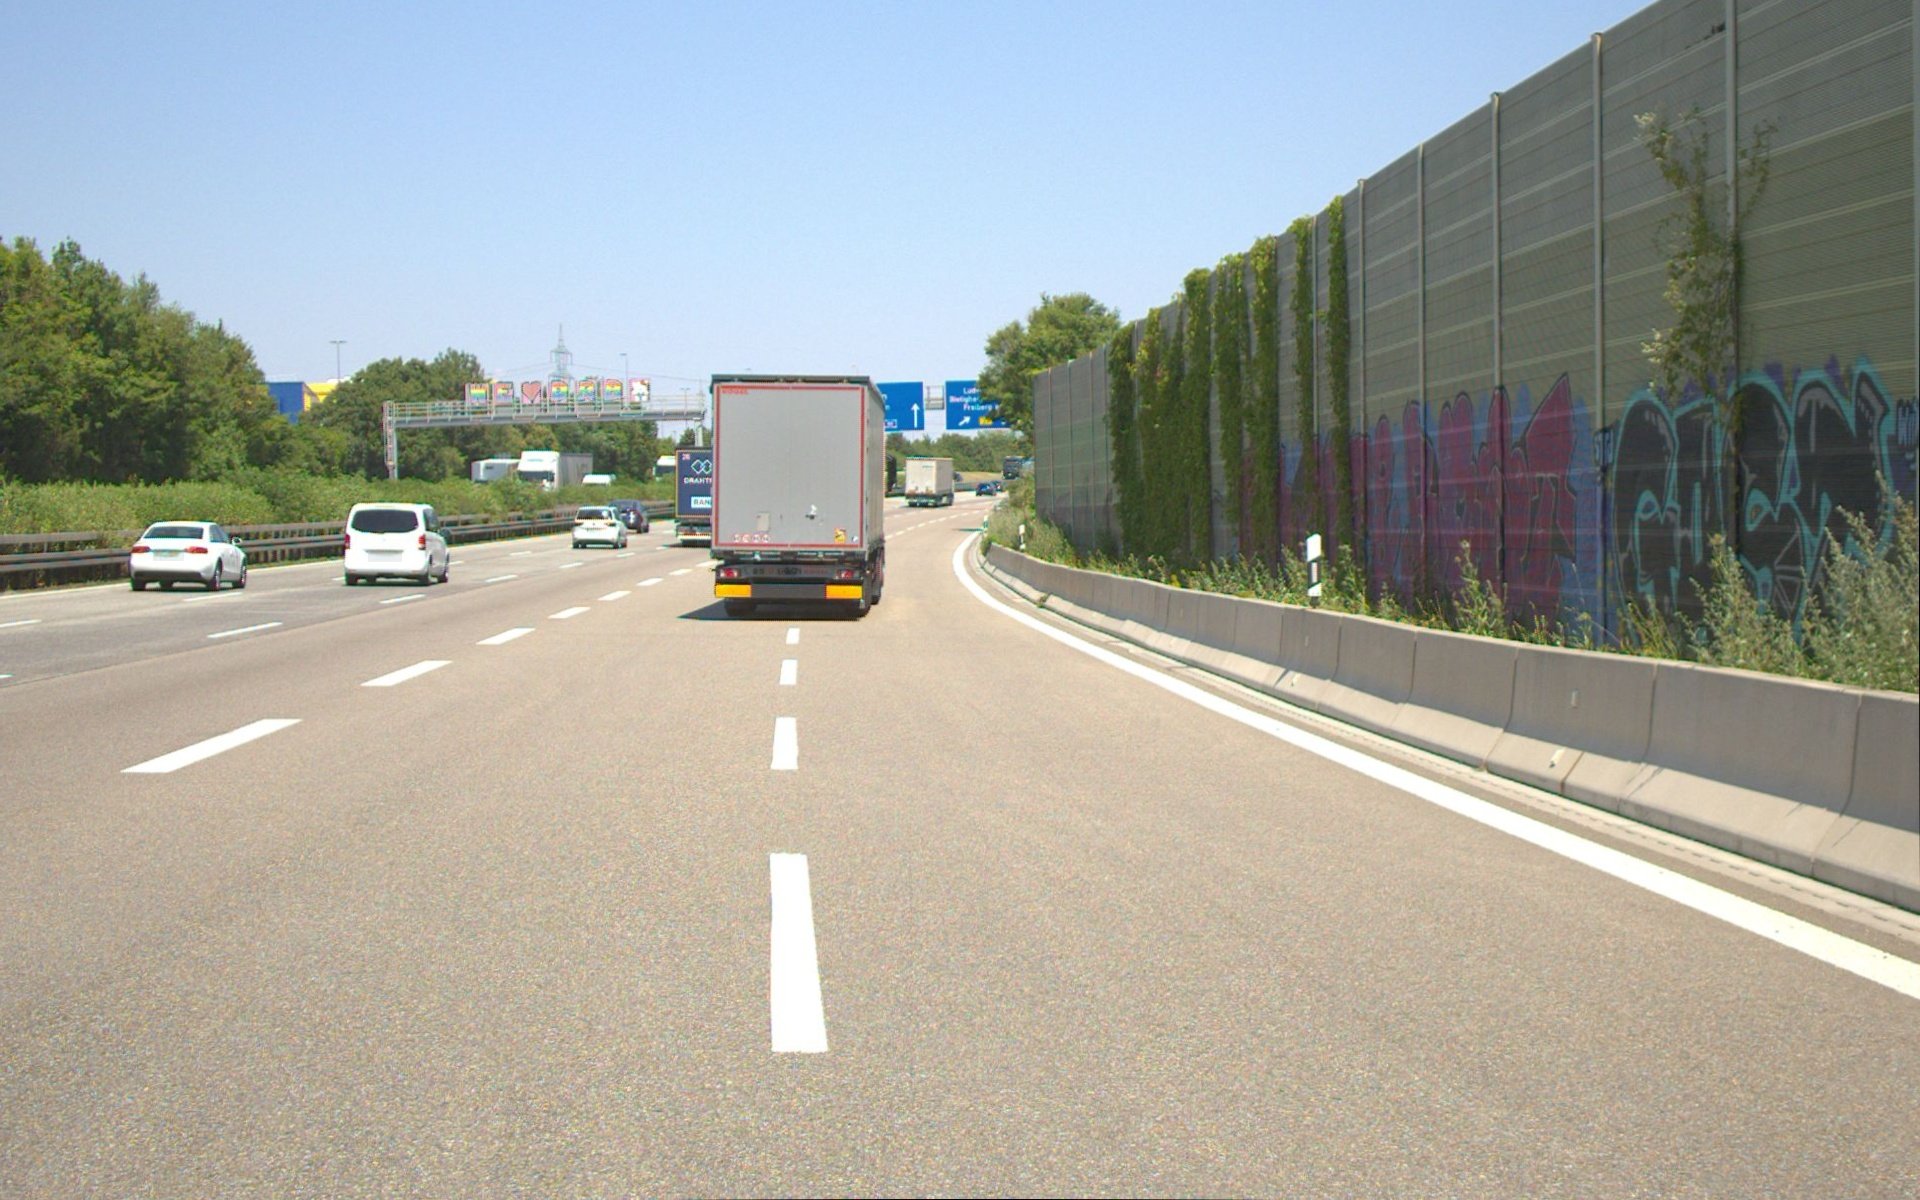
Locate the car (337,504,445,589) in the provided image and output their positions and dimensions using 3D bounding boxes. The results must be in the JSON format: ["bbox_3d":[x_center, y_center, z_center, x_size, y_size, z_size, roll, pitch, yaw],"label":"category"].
[{"bbox_3d":[-12.949,-1.192,78.462,1.930,1.845,4.693,-1,0,-3],"label":"car"}]

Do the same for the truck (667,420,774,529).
[{"bbox_3d":[-9.831,-5.242,142.823,3.747,4.255,14.498,1,2,-1],"label":"truck"}]

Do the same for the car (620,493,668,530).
[{"bbox_3d":[-15.399,-4.313,167.844,1.904,1.711,4.631,-1,0,0],"label":"car"}]

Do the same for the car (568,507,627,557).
[{"bbox_3d":[-13.988,-2.649,132.864,1.904,1.845,4.632,-1,2,-2],"label":"car"}]

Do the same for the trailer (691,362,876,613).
[{"bbox_3d":[-2.993,-1.986,61.212,2.928,4.001,12.040,-1,2,-1],"label":"trailer"}]

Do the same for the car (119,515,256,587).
[{"bbox_3d":[-16.165,-1.029,72.178,1.876,1.435,5.126,0,1,-2],"label":"car"}]
